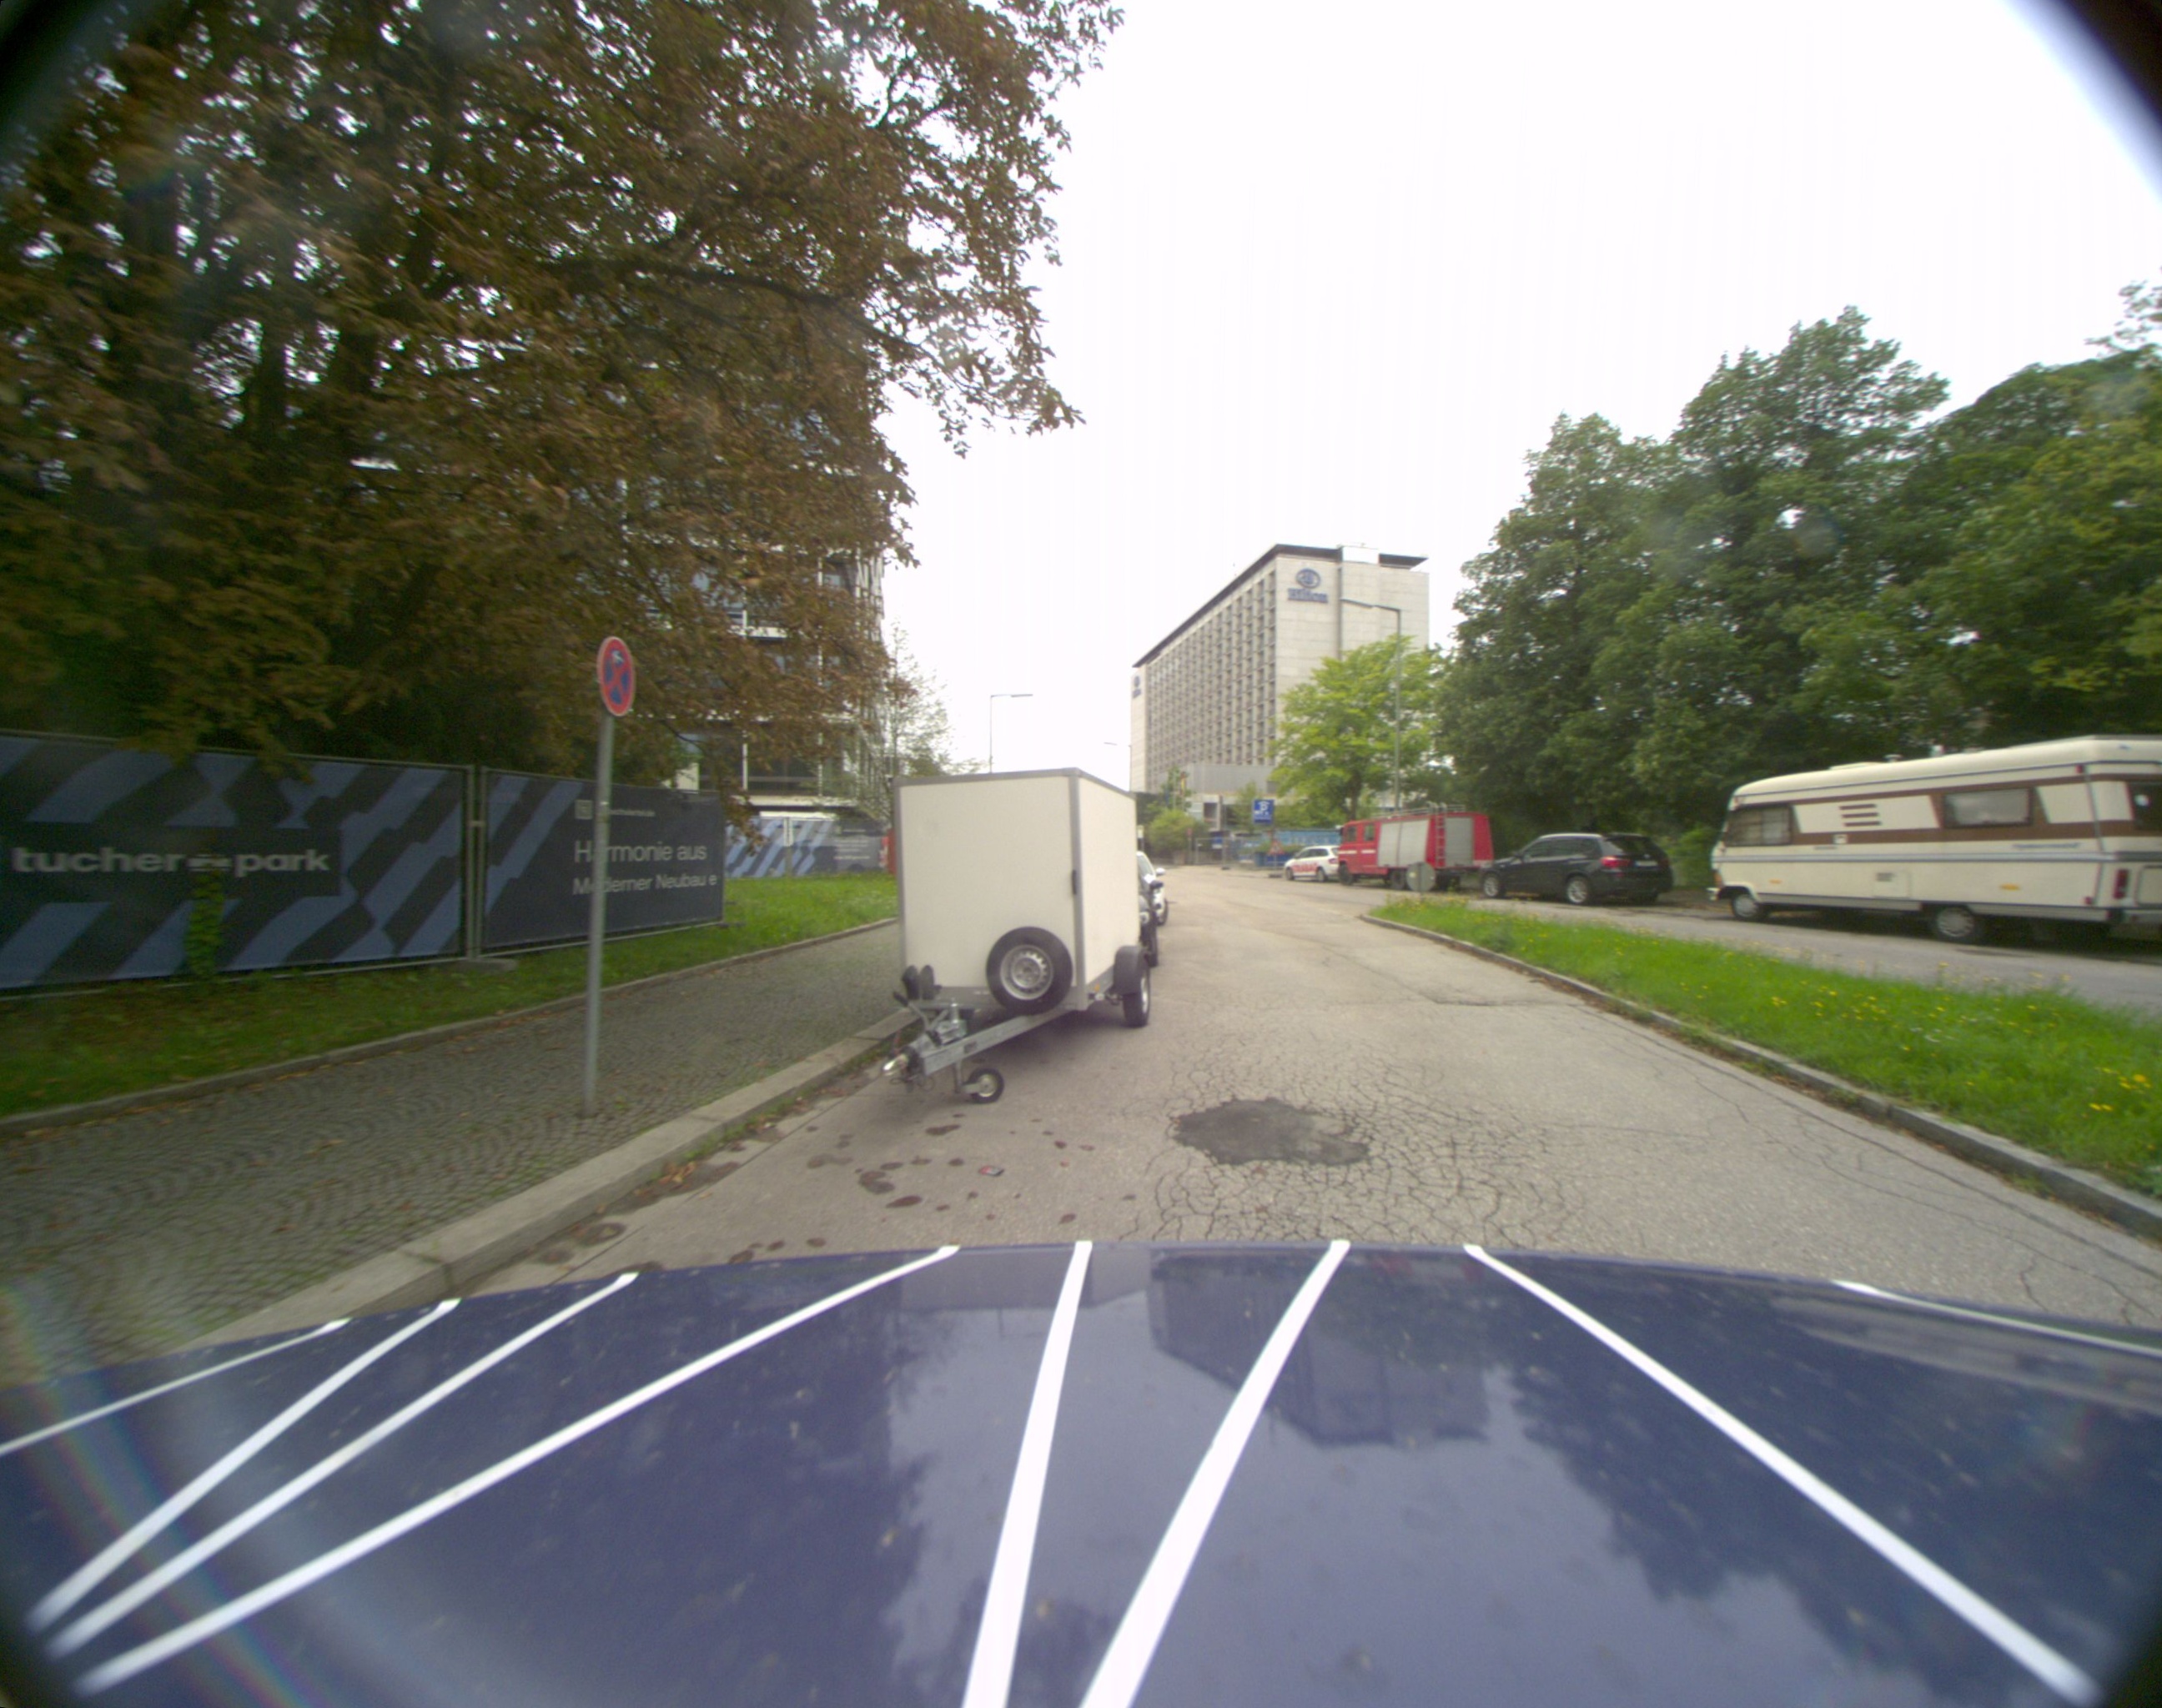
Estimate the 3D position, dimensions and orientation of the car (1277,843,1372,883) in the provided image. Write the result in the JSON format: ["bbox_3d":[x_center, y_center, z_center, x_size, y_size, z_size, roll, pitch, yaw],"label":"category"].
[{"bbox_3d":[10.080,0.311,31.784,1.783,1.541,4.251,0,1,-14],"label":"car"}]

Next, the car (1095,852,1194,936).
[{"bbox_3d":[1.198,0.720,15.968,1.771,1.477,4.220,0,1,1],"label":"car"}]

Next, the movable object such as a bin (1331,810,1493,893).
[{"bbox_3d":[10.738,-0.117,25.360,2.111,2.444,6.181,0,1,-7],"label":"movable object such as a bin"}]

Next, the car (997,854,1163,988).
[{"bbox_3d":[0.161,0.761,10.837,1.876,1.429,4.329,1,1,5],"label":"car"}]

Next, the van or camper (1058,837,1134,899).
[{"bbox_3d":[0.419,0.404,27.447,2.000,2.002,5.372,0,1,-7],"label":"van or camper"}]

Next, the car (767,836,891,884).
[{"bbox_3d":[-10.685,0.202,32.611,4.777,1.911,1.998,-1,2,-11],"label":"car"}]

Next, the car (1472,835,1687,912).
[{"bbox_3d":[11.818,0.380,18.462,1.782,1.640,4.455,0,1,-10],"label":"car"}]

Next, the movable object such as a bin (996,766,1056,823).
[{"bbox_3d":[-4.263,-4.264,56.685,3.252,3.696,8.996,0,1,-12],"label":"movable object such as a bin"}]

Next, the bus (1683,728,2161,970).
[{"bbox_3d":[12.499,-0.089,11.331,2.321,2.683,5.732,0,1,-2],"label":"bus"}]

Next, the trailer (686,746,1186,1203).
[{"bbox_3d":[-0.427,0.473,5.875,1.811,2.002,4.839,0,2,15],"label":"trailer"}]
